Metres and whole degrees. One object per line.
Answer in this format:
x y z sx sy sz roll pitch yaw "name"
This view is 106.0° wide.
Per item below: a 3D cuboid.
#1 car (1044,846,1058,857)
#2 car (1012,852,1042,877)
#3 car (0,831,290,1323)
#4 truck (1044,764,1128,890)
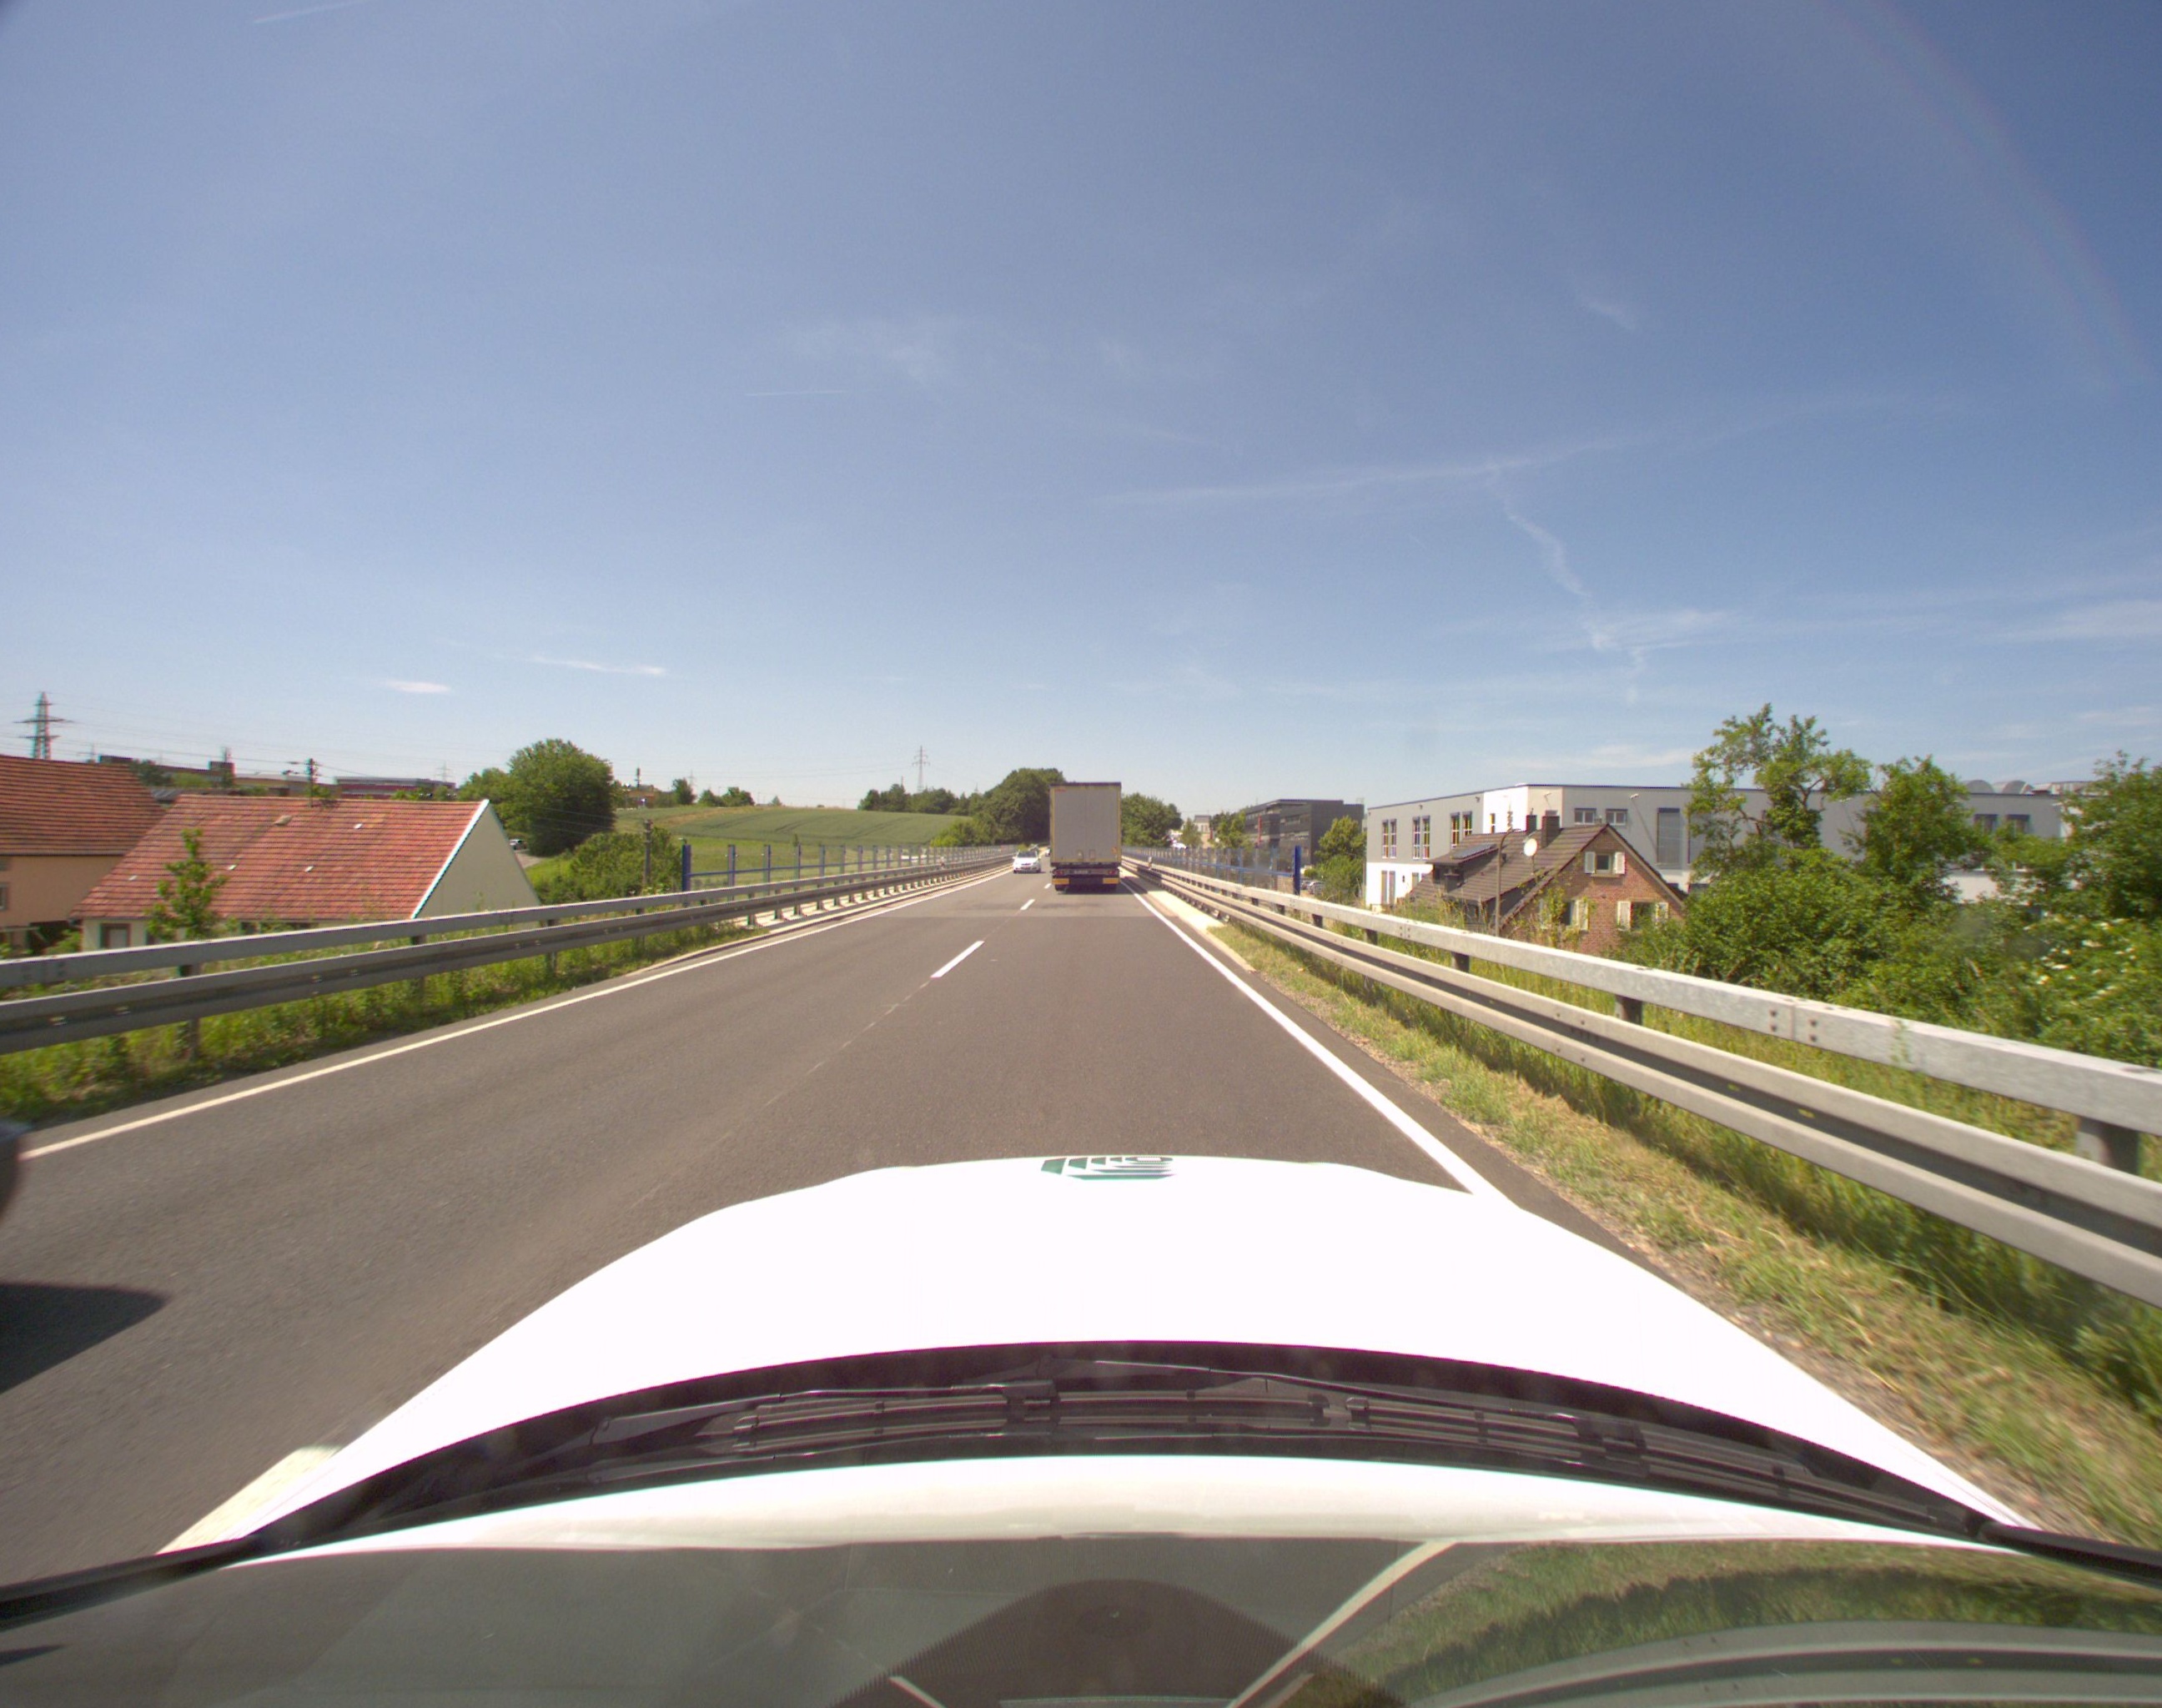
-4.090 -0.355 113.004 1.776 1.435 4.833 -1 0 -1 "car"
-3.538 0.674 54.171 1.702 1.505 4.118 -1 0 0 "car"
-4.423 0.734 1.393 1.800 1.589 4.380 -1 0 1 "car"
0.112 -0.893 33.542 2.858 4.359 9.783 -1 -1 -1 "truck"
